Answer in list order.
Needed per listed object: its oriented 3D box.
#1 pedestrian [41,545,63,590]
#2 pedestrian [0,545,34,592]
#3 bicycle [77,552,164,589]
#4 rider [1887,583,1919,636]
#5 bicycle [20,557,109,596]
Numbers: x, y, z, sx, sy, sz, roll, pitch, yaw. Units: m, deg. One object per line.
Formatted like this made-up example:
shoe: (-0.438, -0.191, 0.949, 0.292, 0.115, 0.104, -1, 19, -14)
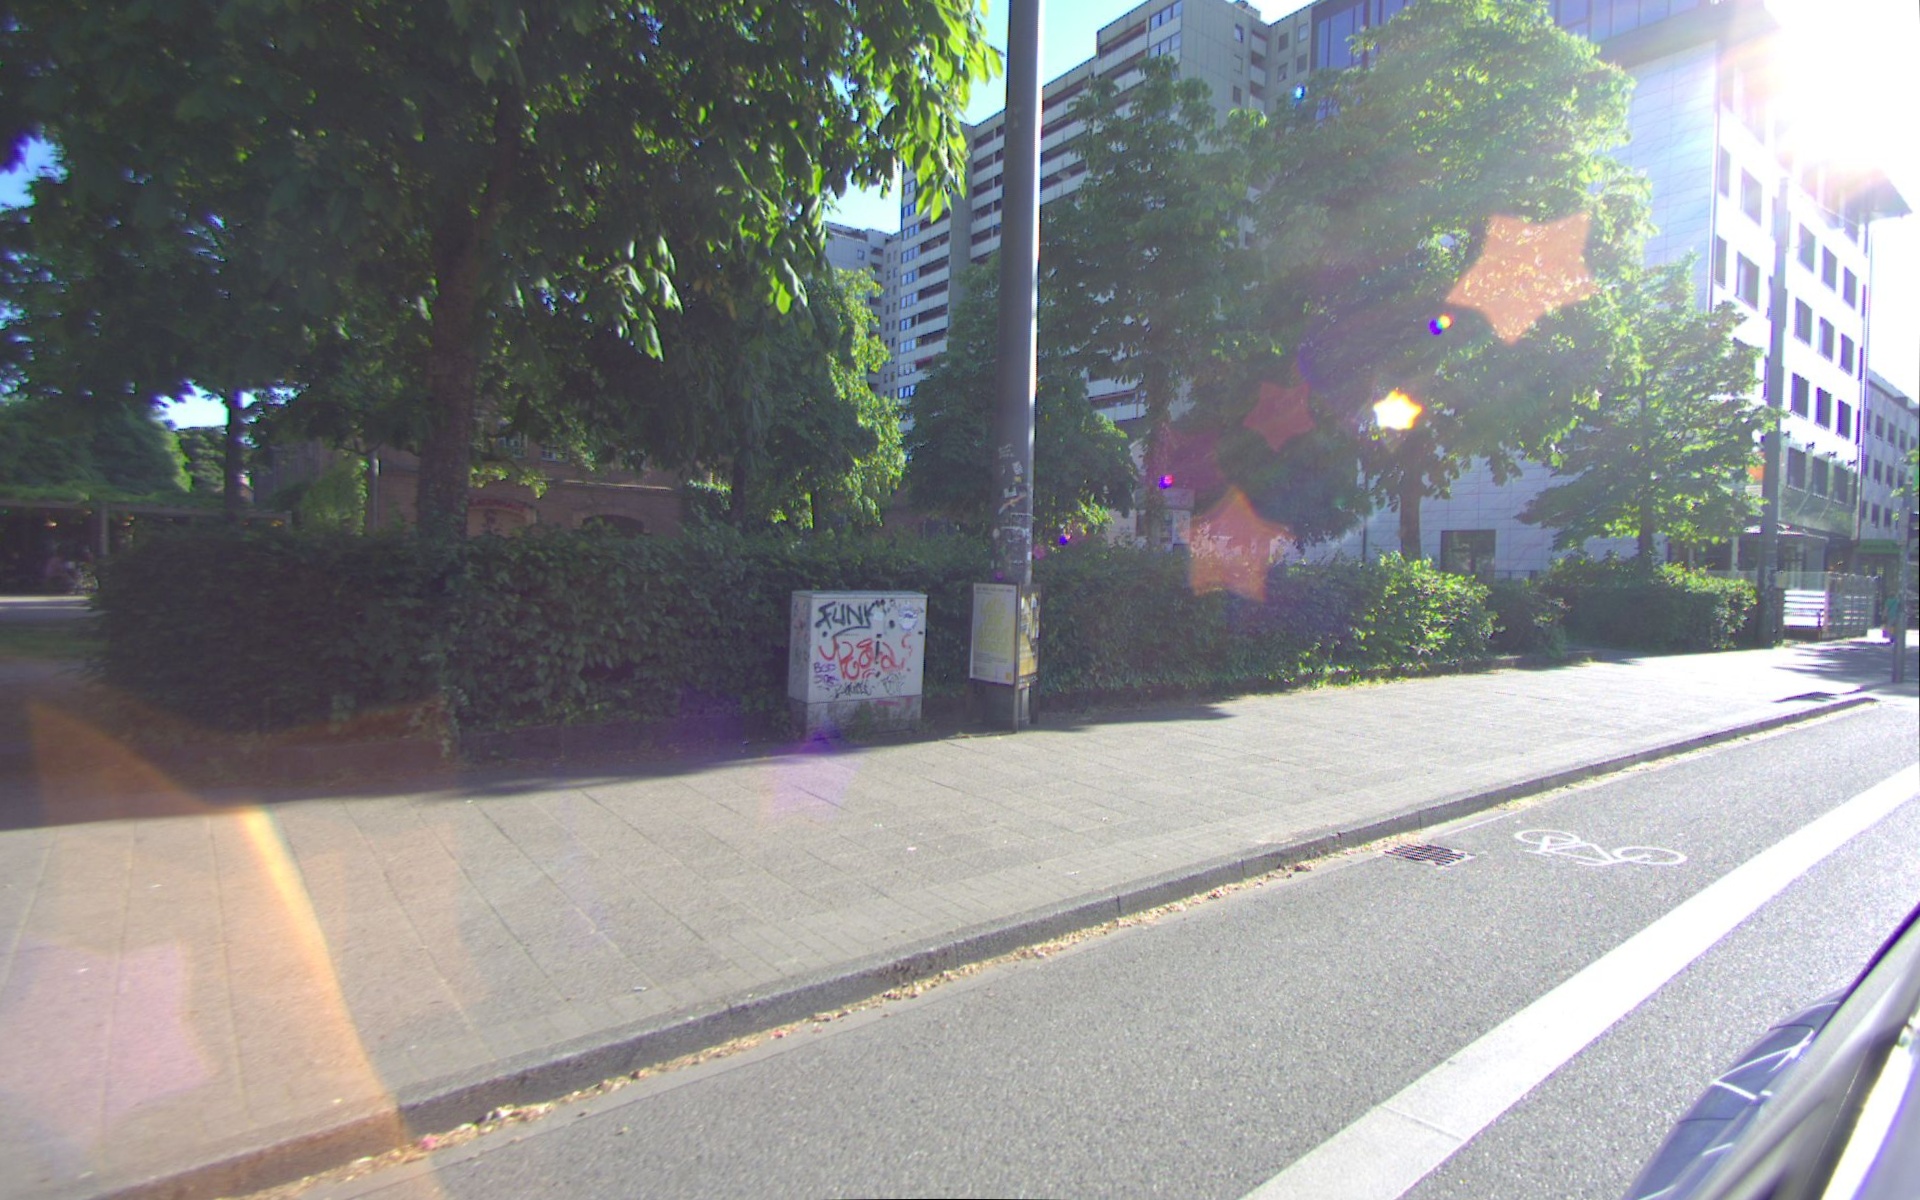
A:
pedestrian: (-27.824, -1.002, 31.009, 0.484, 1.366, 0.351, 0, 0, -40)
pedestrian: (-28.648, -0.948, 30.686, 0.579, 1.417, 0.833, 0, 0, -20)
bicycle: (-26.595, -0.917, 32.097, 2.095, 1.144, 0.451, 0, 0, -41)
rider: (29.565, 0.282, 31.608, 0.776, 1.610, 0.778, 0, 2, -42)
bicycle: (-26.759, -0.698, 30.269, 2.088, 1.144, 0.453, 0, 0, -9)
